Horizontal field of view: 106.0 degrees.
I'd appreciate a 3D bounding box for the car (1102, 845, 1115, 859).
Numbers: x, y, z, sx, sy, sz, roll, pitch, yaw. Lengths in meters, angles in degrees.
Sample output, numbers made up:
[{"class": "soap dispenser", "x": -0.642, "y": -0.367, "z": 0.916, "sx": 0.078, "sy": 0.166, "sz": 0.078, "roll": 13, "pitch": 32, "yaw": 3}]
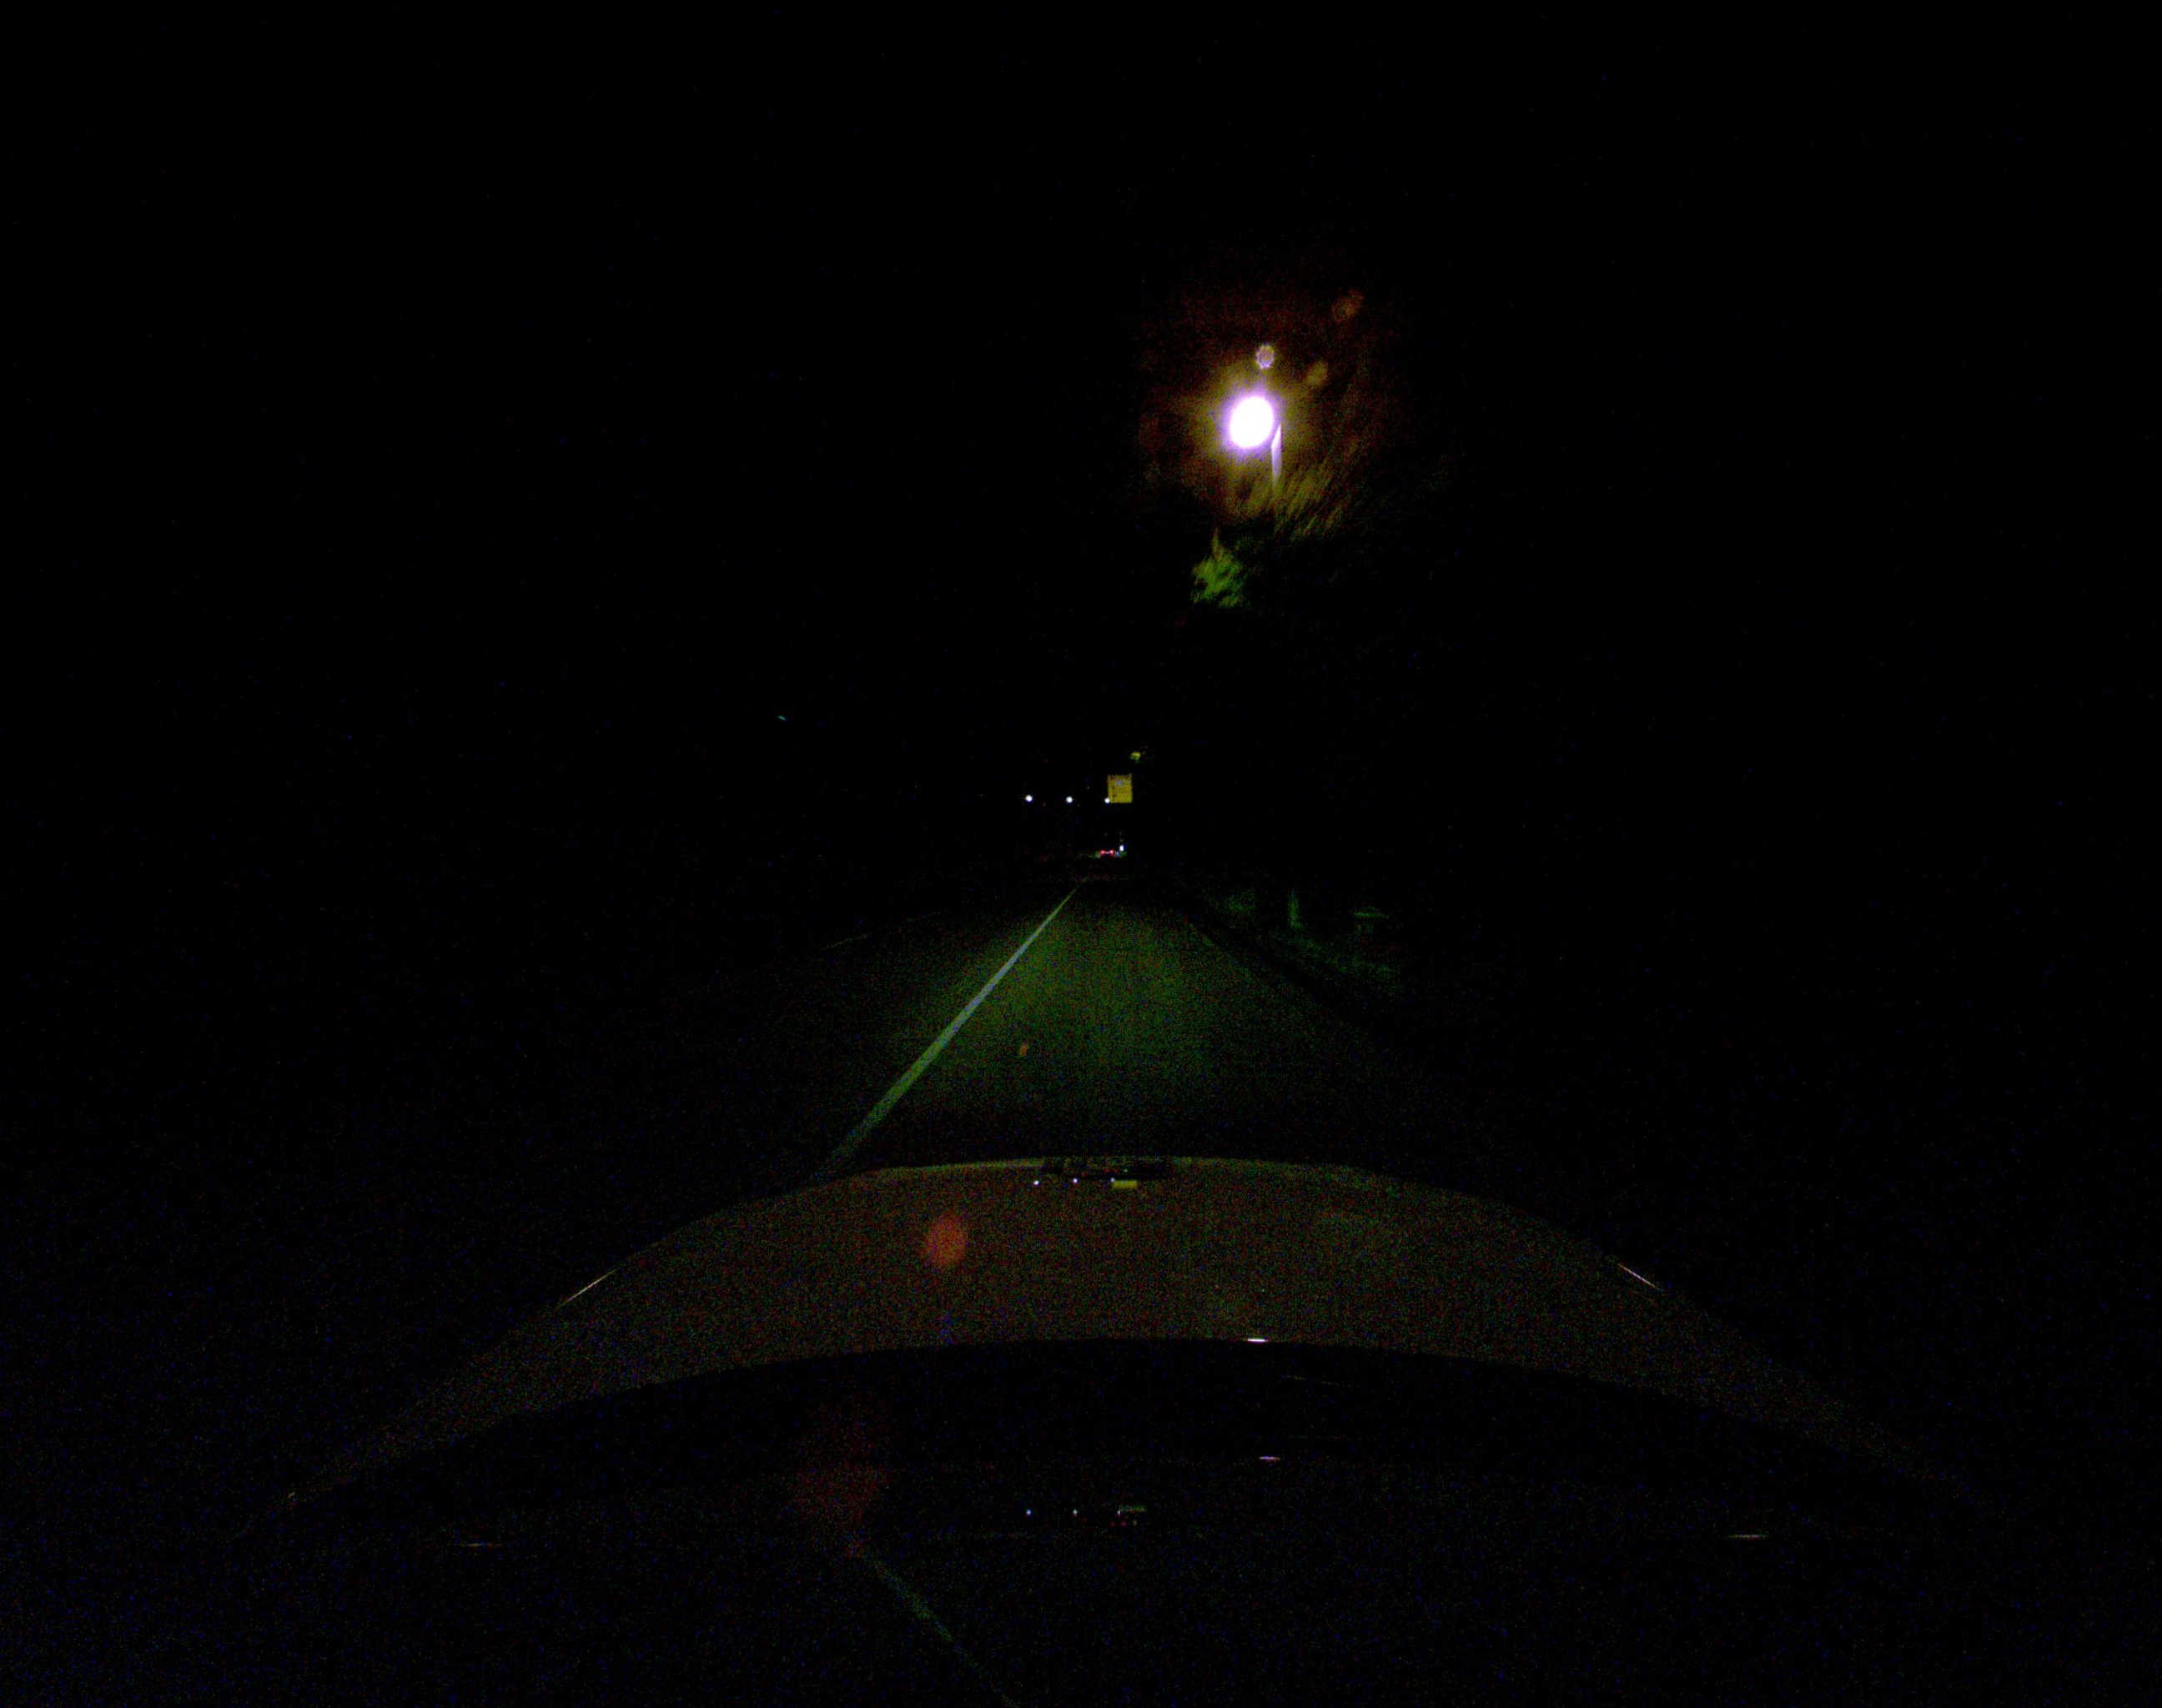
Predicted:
[{"class": "car", "x": 4.046, "y": -0.318, "z": 121.229, "sx": 1.911, "sy": 2.014, "sz": 4.124, "roll": 0, "pitch": 0, "yaw": 2}]
